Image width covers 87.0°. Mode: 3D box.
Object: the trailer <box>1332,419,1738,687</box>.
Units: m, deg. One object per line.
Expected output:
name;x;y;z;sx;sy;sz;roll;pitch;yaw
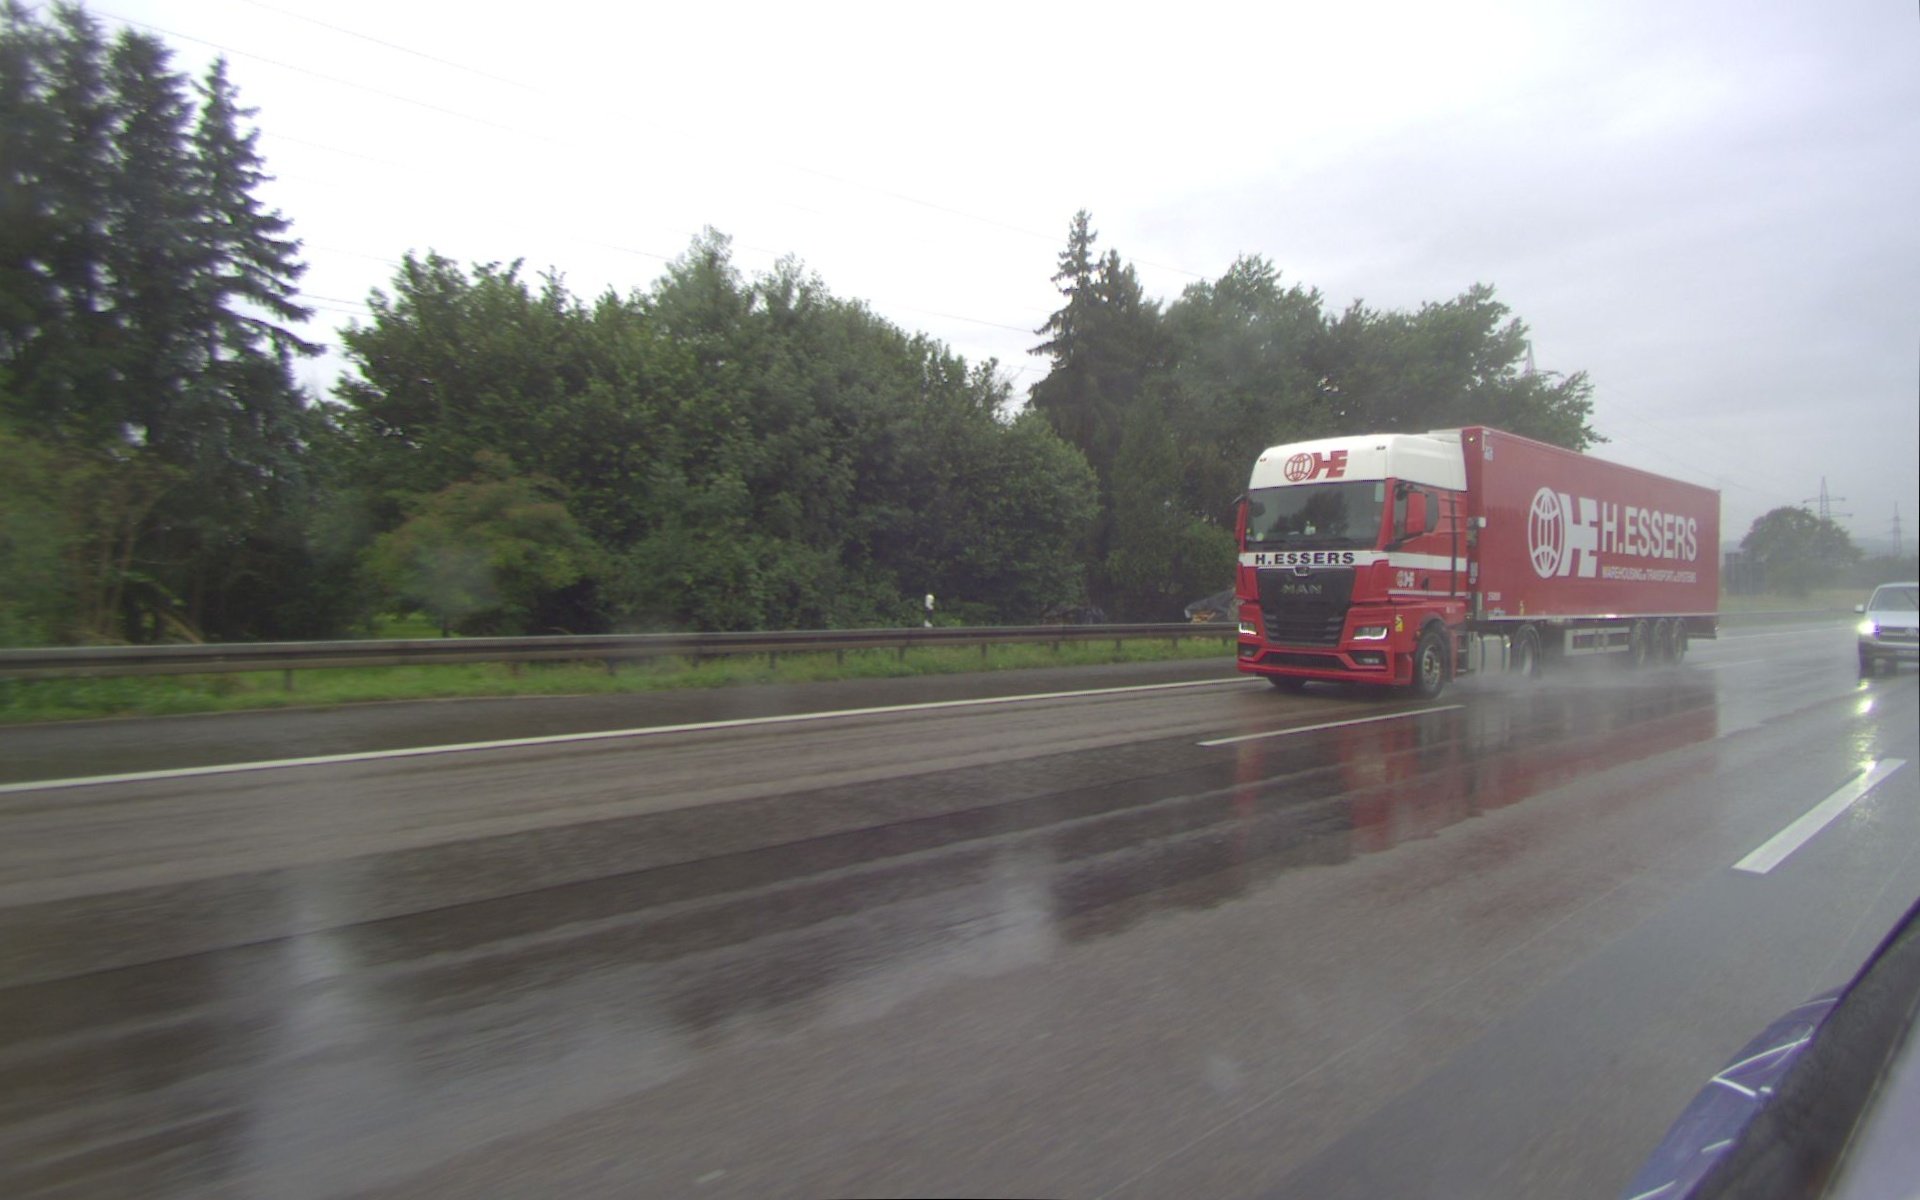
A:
trailer;12.286;-0.745;20.466;13.387;4.005;2.625;0;0;-40

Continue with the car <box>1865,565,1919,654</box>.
car;22.444;0.213;23.105;4.919;1.908;1.890;0;-2;-40

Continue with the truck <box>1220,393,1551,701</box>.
truck;6.786;-0.715;15.878;5.335;4.005;2.626;0;0;-39
